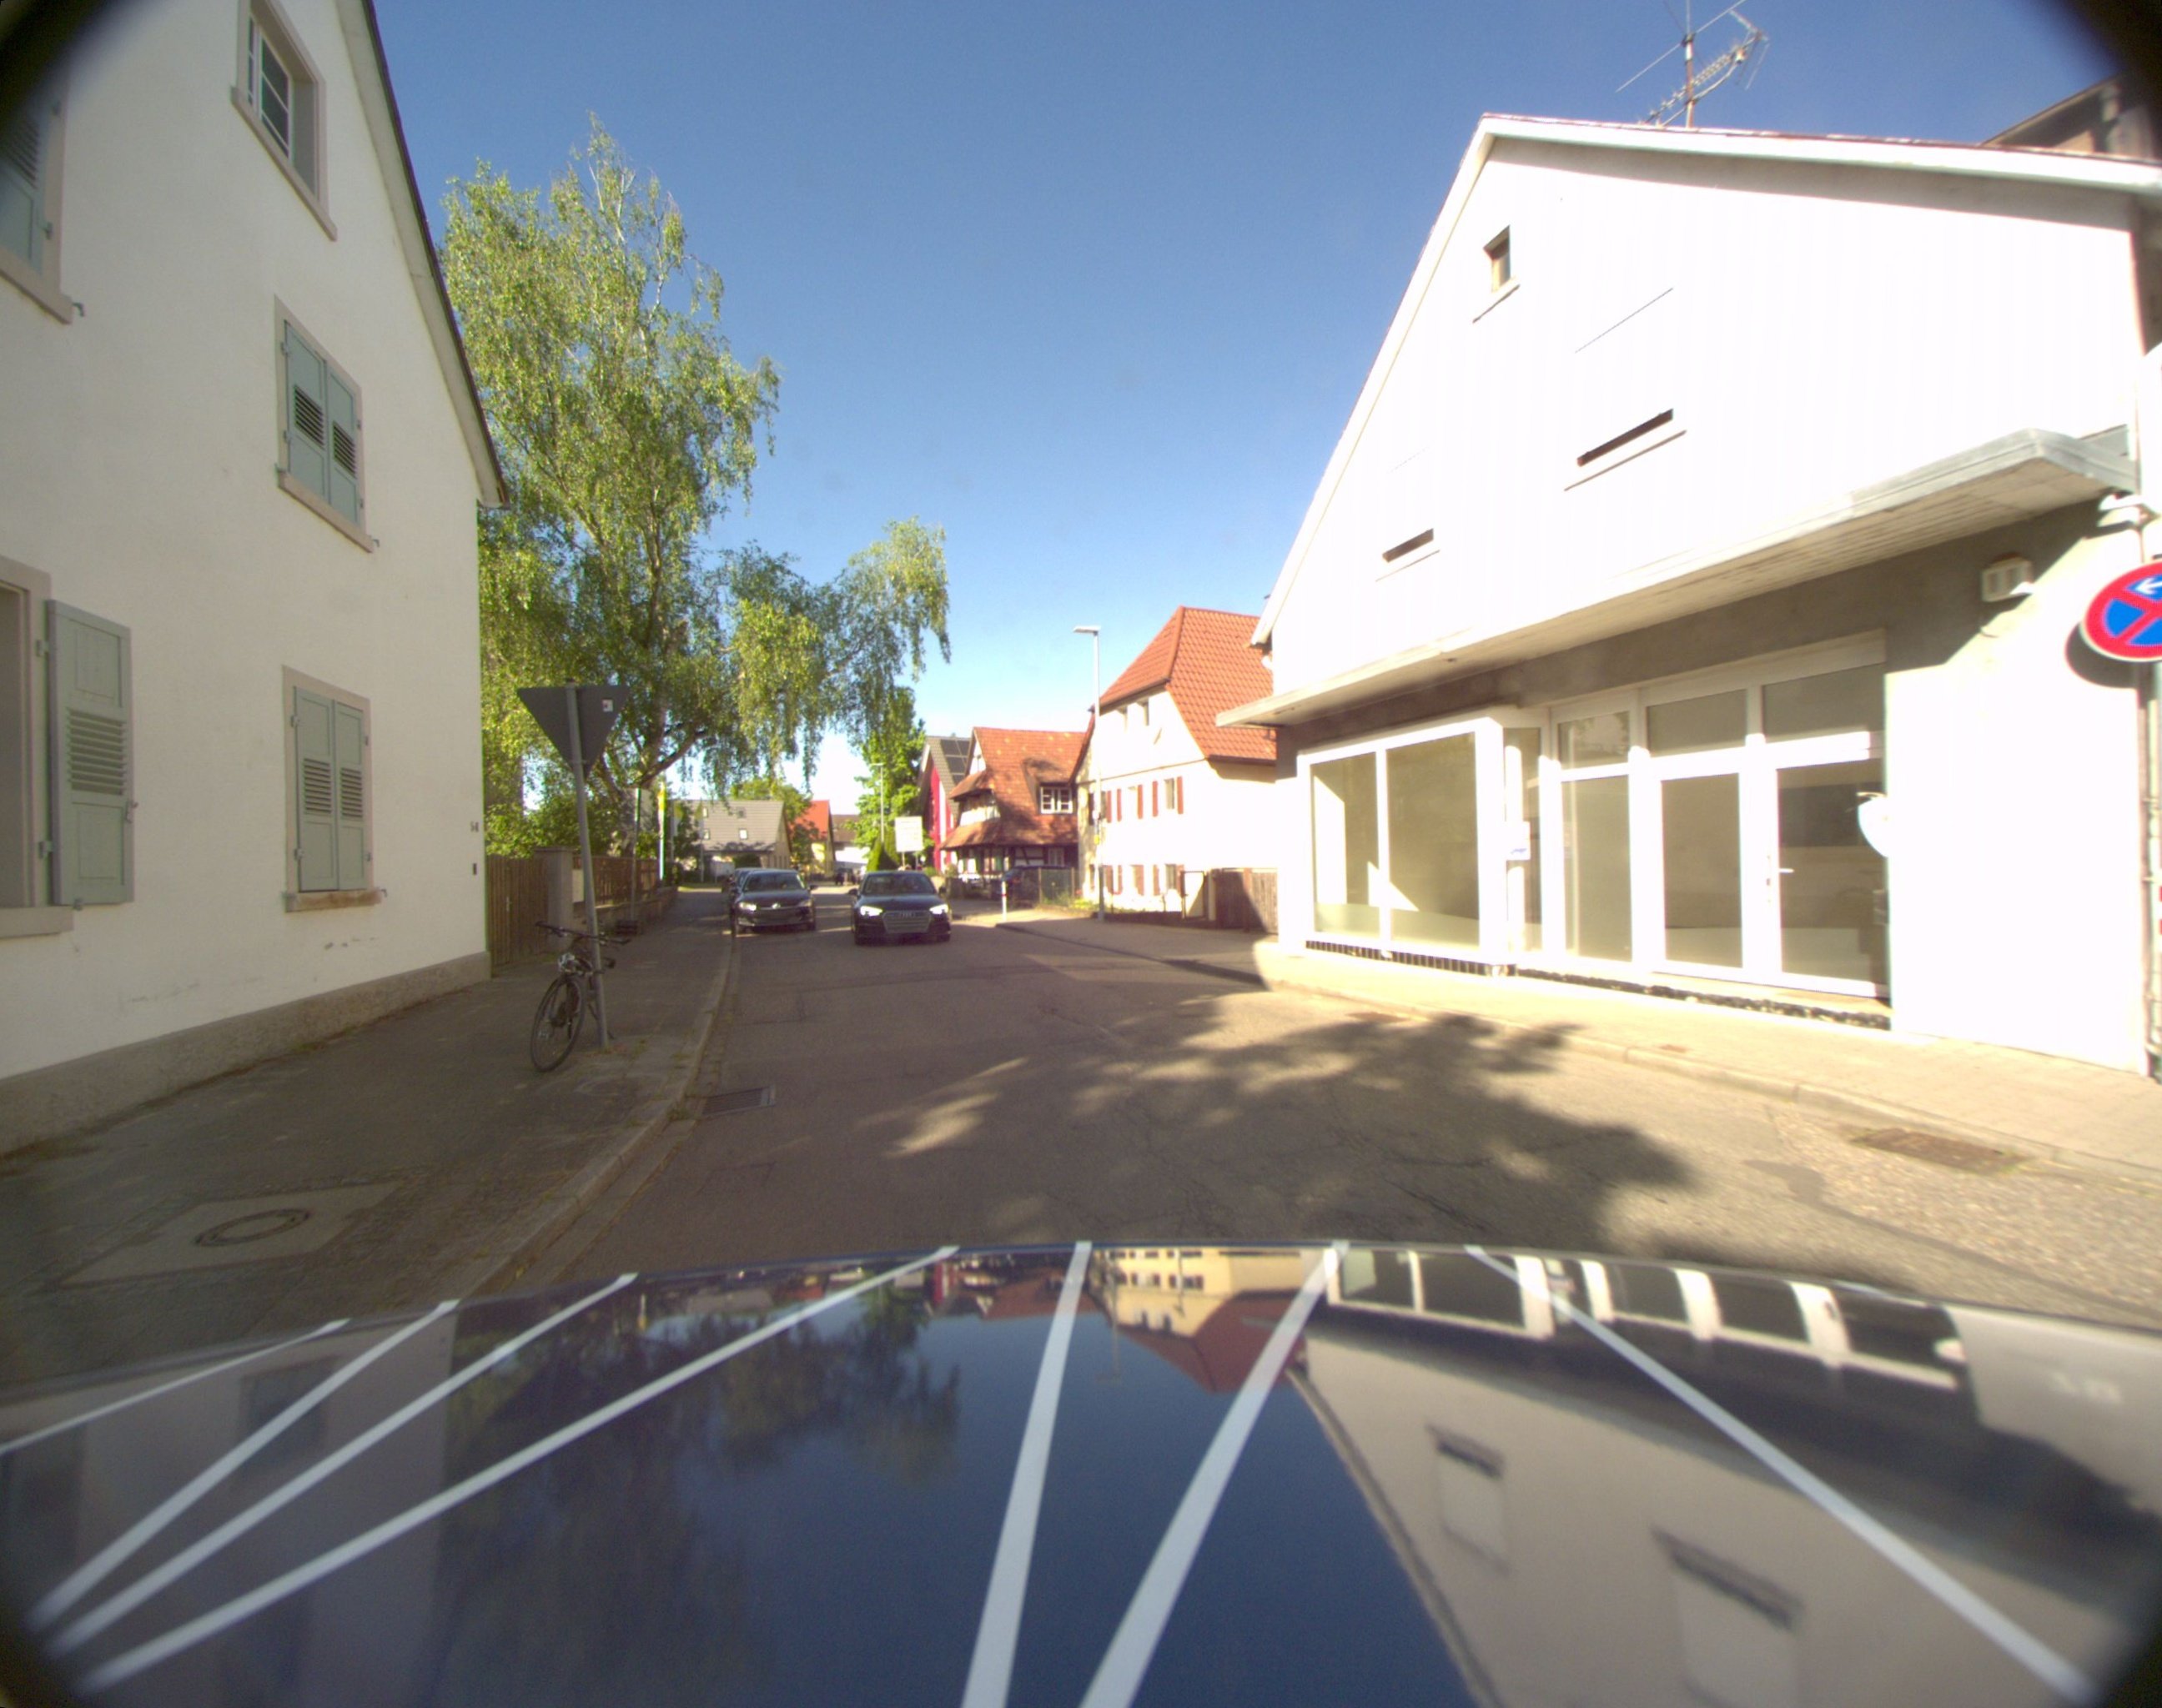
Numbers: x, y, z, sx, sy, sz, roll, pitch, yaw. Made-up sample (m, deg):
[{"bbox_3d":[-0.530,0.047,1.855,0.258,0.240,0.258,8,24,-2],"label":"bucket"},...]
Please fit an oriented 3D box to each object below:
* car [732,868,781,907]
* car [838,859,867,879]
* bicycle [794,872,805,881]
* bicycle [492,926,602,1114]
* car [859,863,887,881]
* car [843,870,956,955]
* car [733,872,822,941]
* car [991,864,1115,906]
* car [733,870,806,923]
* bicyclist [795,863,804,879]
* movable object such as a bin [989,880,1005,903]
[{"bbox_3d":[-13.552,1.332,31.618,1.656,1.470,3.925,-1,0,-26],"label":"car"},{"bbox_3d":[-21.166,1.397,70.505,1.838,1.661,4.349,-2,1,-8],"label":"car"},{"bbox_3d":[-24.347,1.909,65.696,0.583,0.757,1.798,1,-1,-11],"label":"bicycle"},{"bbox_3d":[-4.092,1.175,5.915,0.437,1.073,1.886,0,0,-27],"label":"bicycle"},{"bbox_3d":[-22.274,1.953,81.671,1.837,1.779,4.353,2,-1,-2],"label":"car"},{"bbox_3d":[-3.936,1.100,15.942,1.810,1.469,4.336,-1,0,-20],"label":"car"},{"bbox_3d":[-7.556,1.206,18.922,1.815,1.427,4.278,-1,0,-22],"label":"car"},{"bbox_3d":[-1.027,1.161,28.038,4.179,1.453,1.844,2,-2,-29],"label":"car"},{"bbox_3d":[-9.813,1.254,23.738,1.816,1.427,4.277,-1,0,-26],"label":"car"},{"bbox_3d":[-24.381,1.456,65.778,0.583,1.312,0.607,1,-1,-11],"label":"bicyclist"},{"bbox_3d":[-3.319,1.487,30.188,0.585,0.892,0.555,2,-1,-4],"label":"movable object such as a bin"}]
